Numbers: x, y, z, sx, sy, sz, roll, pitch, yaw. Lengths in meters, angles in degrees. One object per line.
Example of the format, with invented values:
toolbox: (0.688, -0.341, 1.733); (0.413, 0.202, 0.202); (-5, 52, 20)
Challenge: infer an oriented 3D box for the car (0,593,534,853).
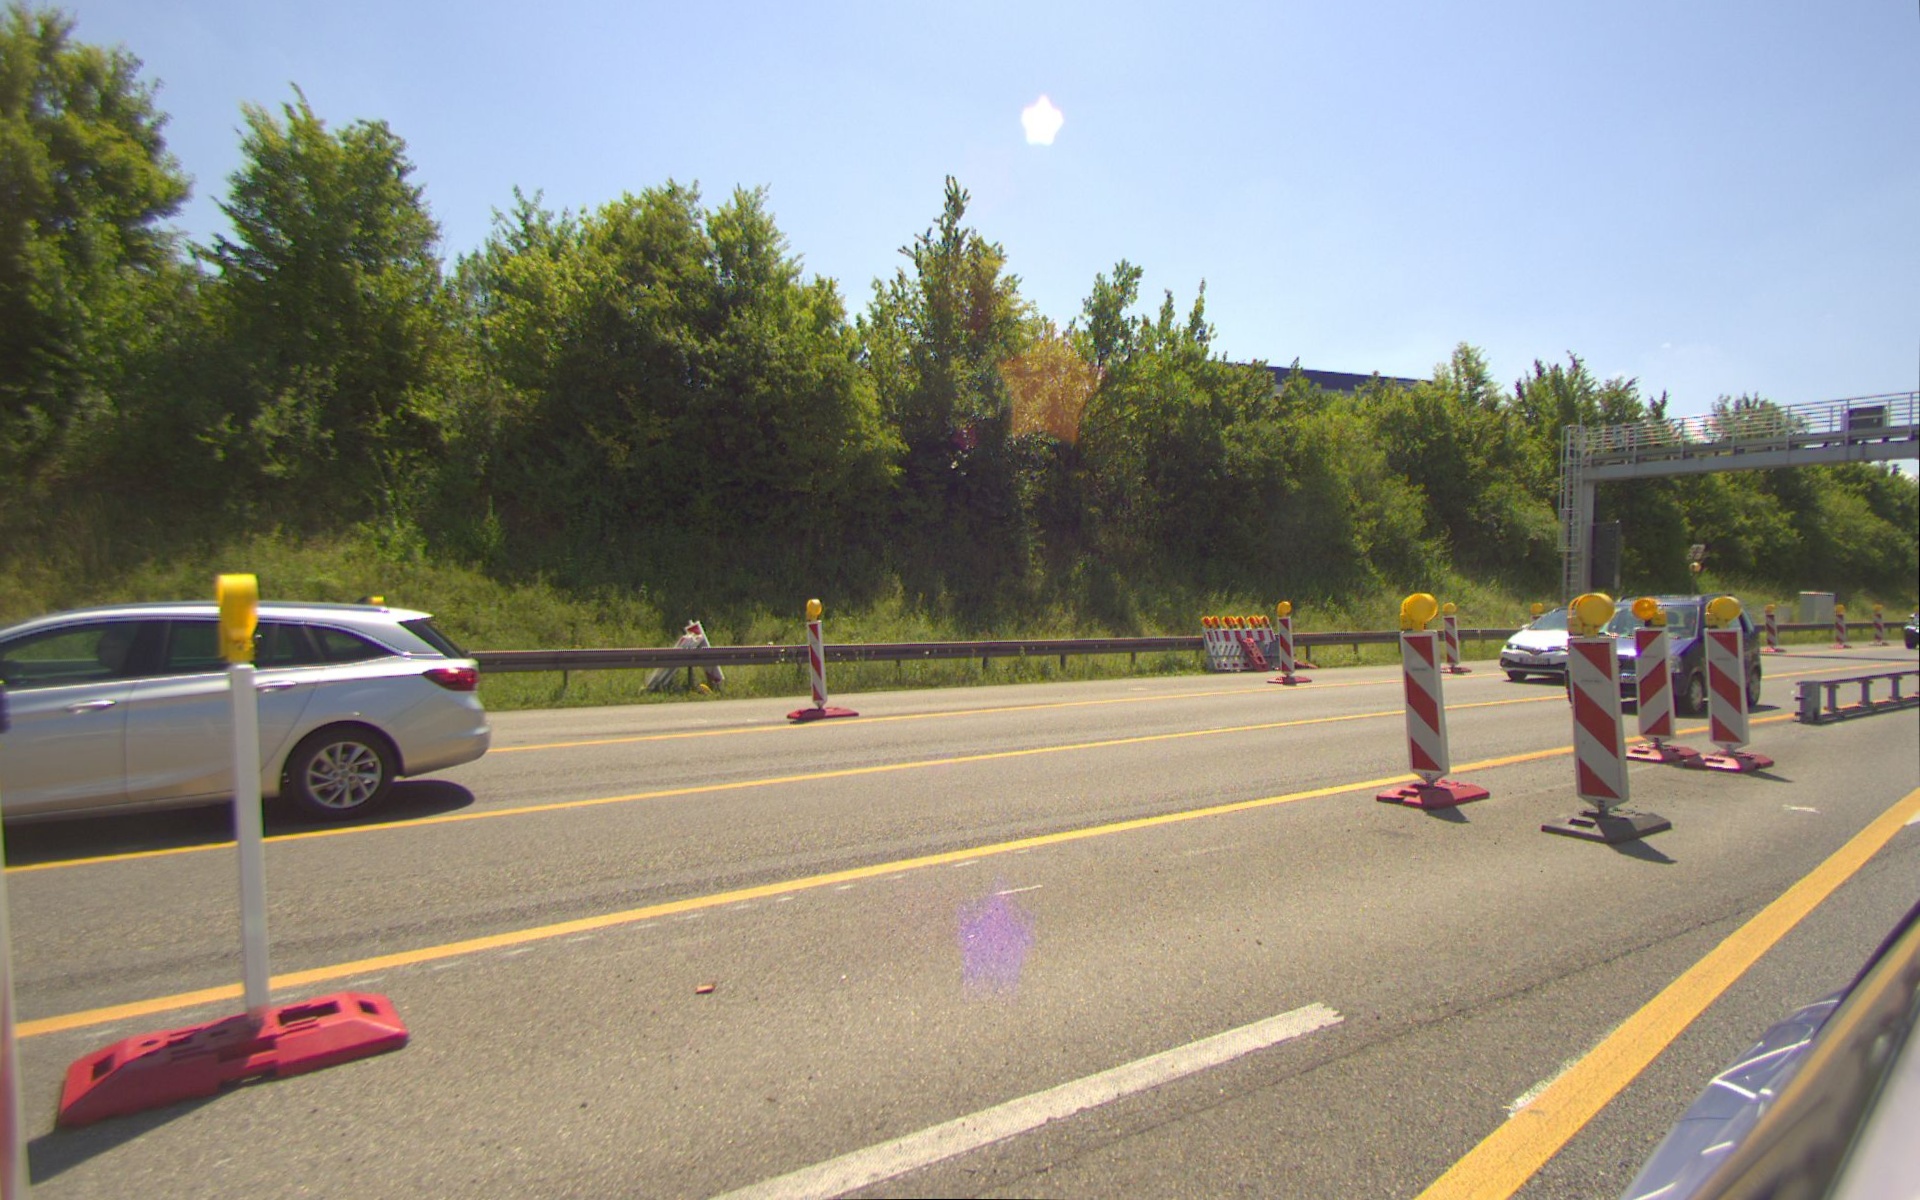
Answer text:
car: (-5.534, 0.698, 6.885); (4.566, 1.483, 1.820); (0, 0, -37)

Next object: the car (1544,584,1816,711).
car: (10.969, 0.620, 15.331); (4.562, 1.663, 1.822); (0, 0, -33)

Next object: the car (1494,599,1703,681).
car: (12.932, 0.723, 20.419); (4.562, 1.483, 1.822); (0, 0, -33)

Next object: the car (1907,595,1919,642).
car: (36.315, 0.666, 36.627); (5.138, 1.683, 2.025); (0, 1, -36)
